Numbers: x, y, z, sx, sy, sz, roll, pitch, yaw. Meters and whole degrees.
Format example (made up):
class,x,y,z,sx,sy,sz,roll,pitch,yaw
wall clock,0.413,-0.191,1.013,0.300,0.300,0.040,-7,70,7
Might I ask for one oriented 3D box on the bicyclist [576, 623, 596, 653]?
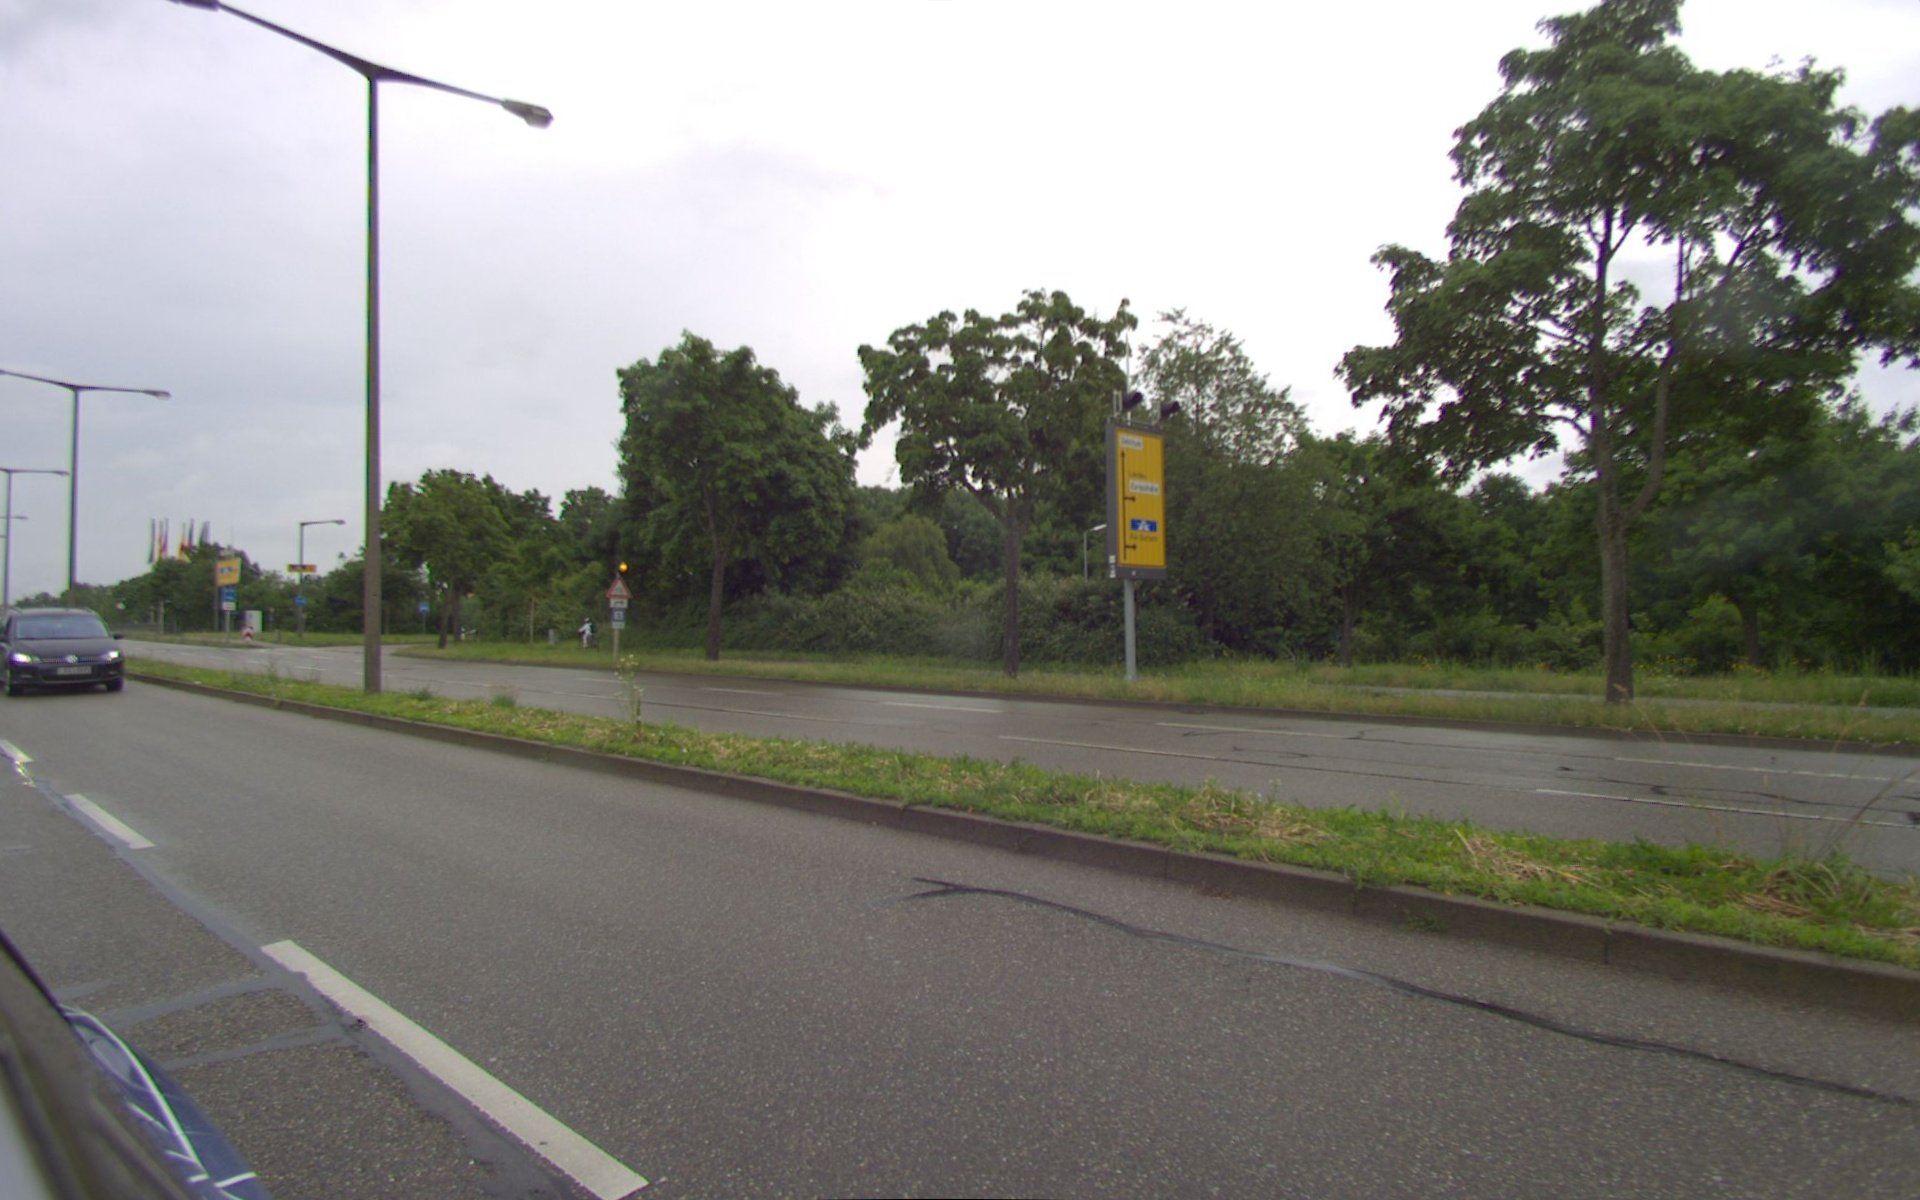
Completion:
class,x,y,z,sx,sy,sz,roll,pitch,yaw
bicyclist,-16.941,1.721,45.840,0.808,1.312,0.516,-1,-1,43

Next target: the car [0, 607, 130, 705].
class,x,y,z,sx,sy,sz,roll,pitch,yaw
car,-18.996,1.052,21.049,4.813,1.764,1.827,0,1,40

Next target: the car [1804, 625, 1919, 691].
class,x,y,z,sx,sy,sz,roll,pitch,yaw
car,24.986,1.550,28.110,1.995,1.698,3.952,-2,-2,35

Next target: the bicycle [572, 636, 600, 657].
class,x,y,z,sx,sy,sz,roll,pitch,yaw
bicycle,-16.937,2.106,45.839,1.633,0.892,0.516,-1,-1,43
